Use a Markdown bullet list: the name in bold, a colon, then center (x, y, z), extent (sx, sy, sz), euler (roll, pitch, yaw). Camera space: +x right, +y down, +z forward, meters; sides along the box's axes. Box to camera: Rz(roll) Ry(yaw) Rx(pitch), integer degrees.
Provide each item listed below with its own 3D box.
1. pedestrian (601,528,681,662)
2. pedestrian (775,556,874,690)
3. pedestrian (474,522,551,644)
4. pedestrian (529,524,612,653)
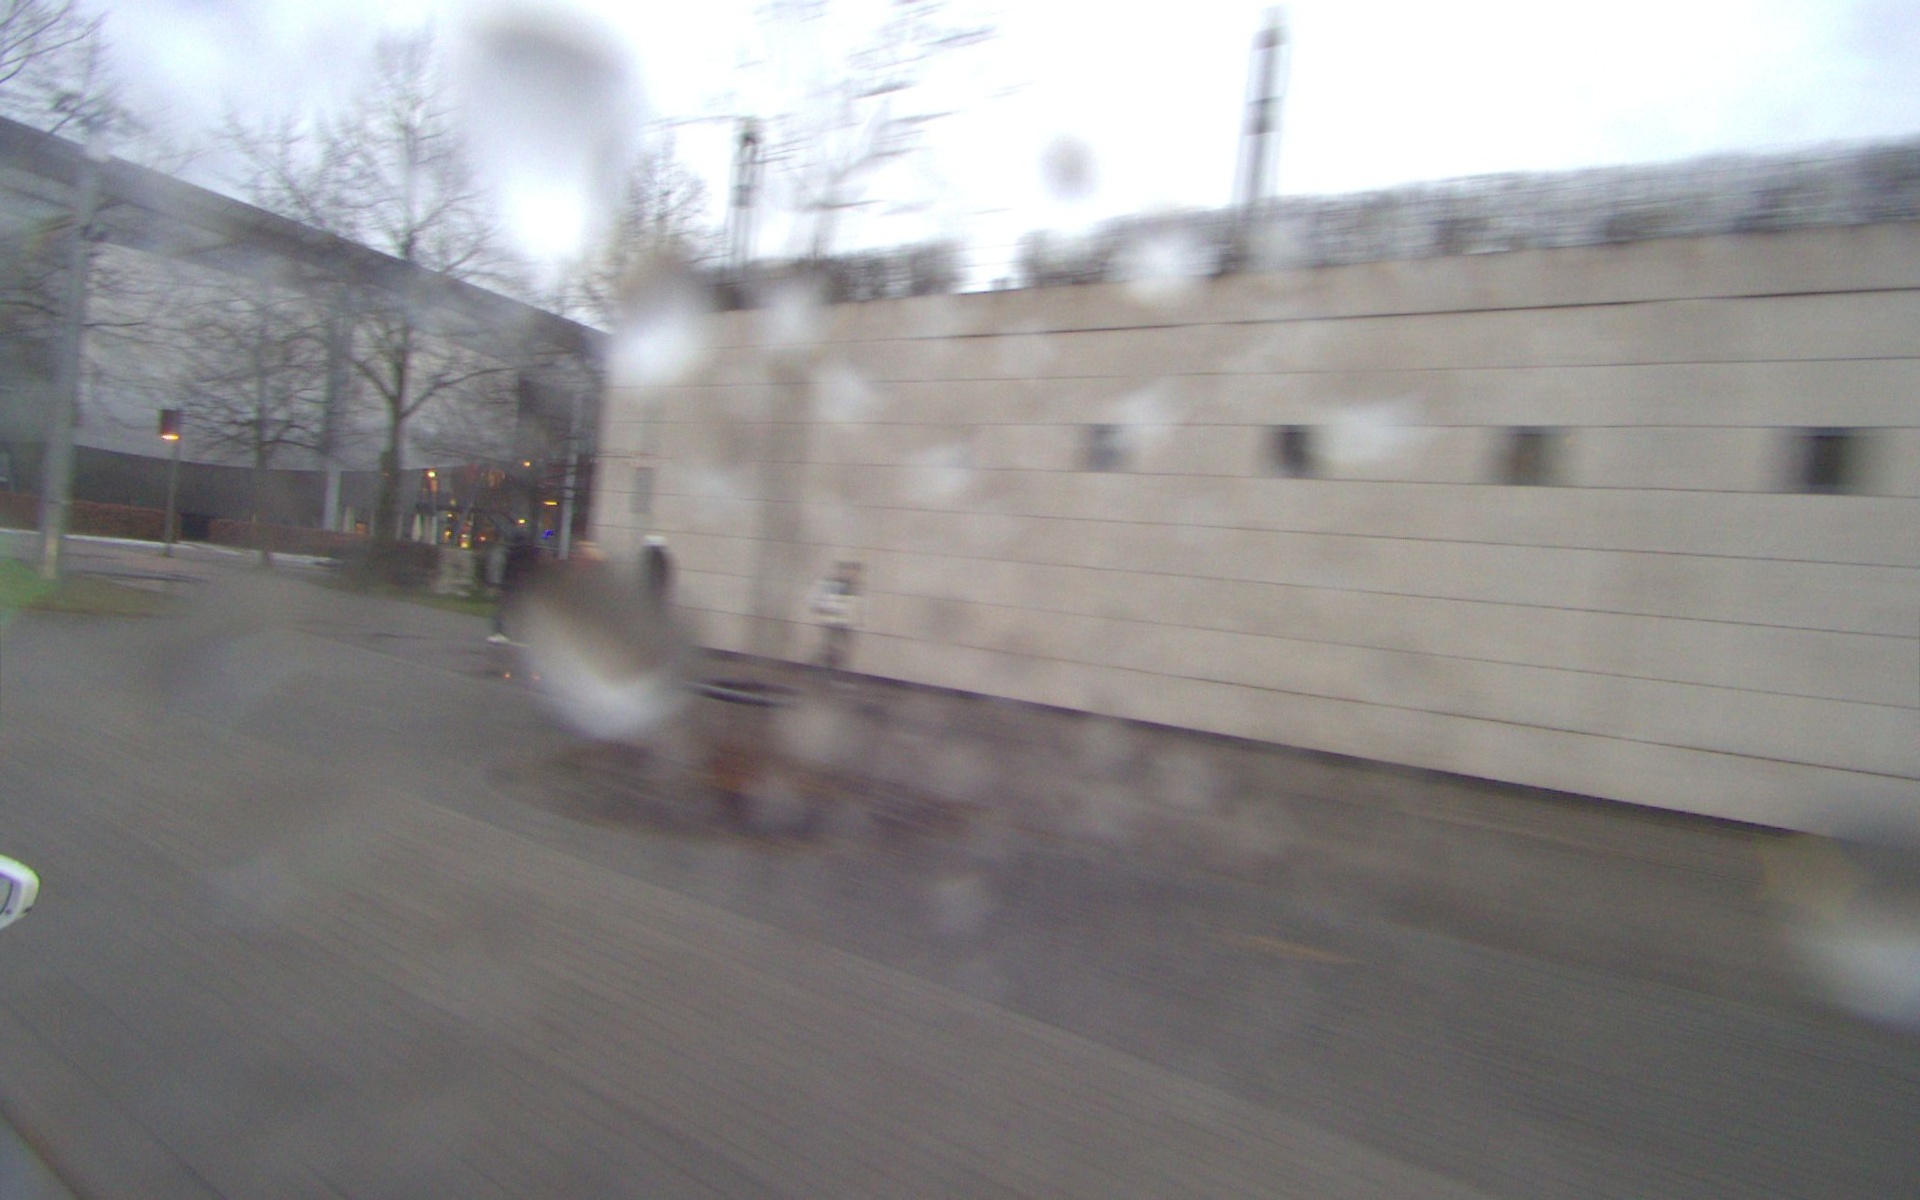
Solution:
- **pedestrian**: center (-4.520, -0.065, 14.260), extent (0.606, 1.798, 0.671), euler (6, -1, 45)
- **pedestrian**: center (-1.812, 0.302, 13.497), extent (0.977, 1.676, 0.668), euler (6, 1, 26)
- **pedestrian**: center (-6.413, -0.249, 14.416), extent (0.671, 1.644, 0.607), euler (8, -1, -43)
- **pedestrian**: center (-5.228, -0.156, 13.502), extent (0.606, 1.631, 0.671), euler (6, -1, 45)
